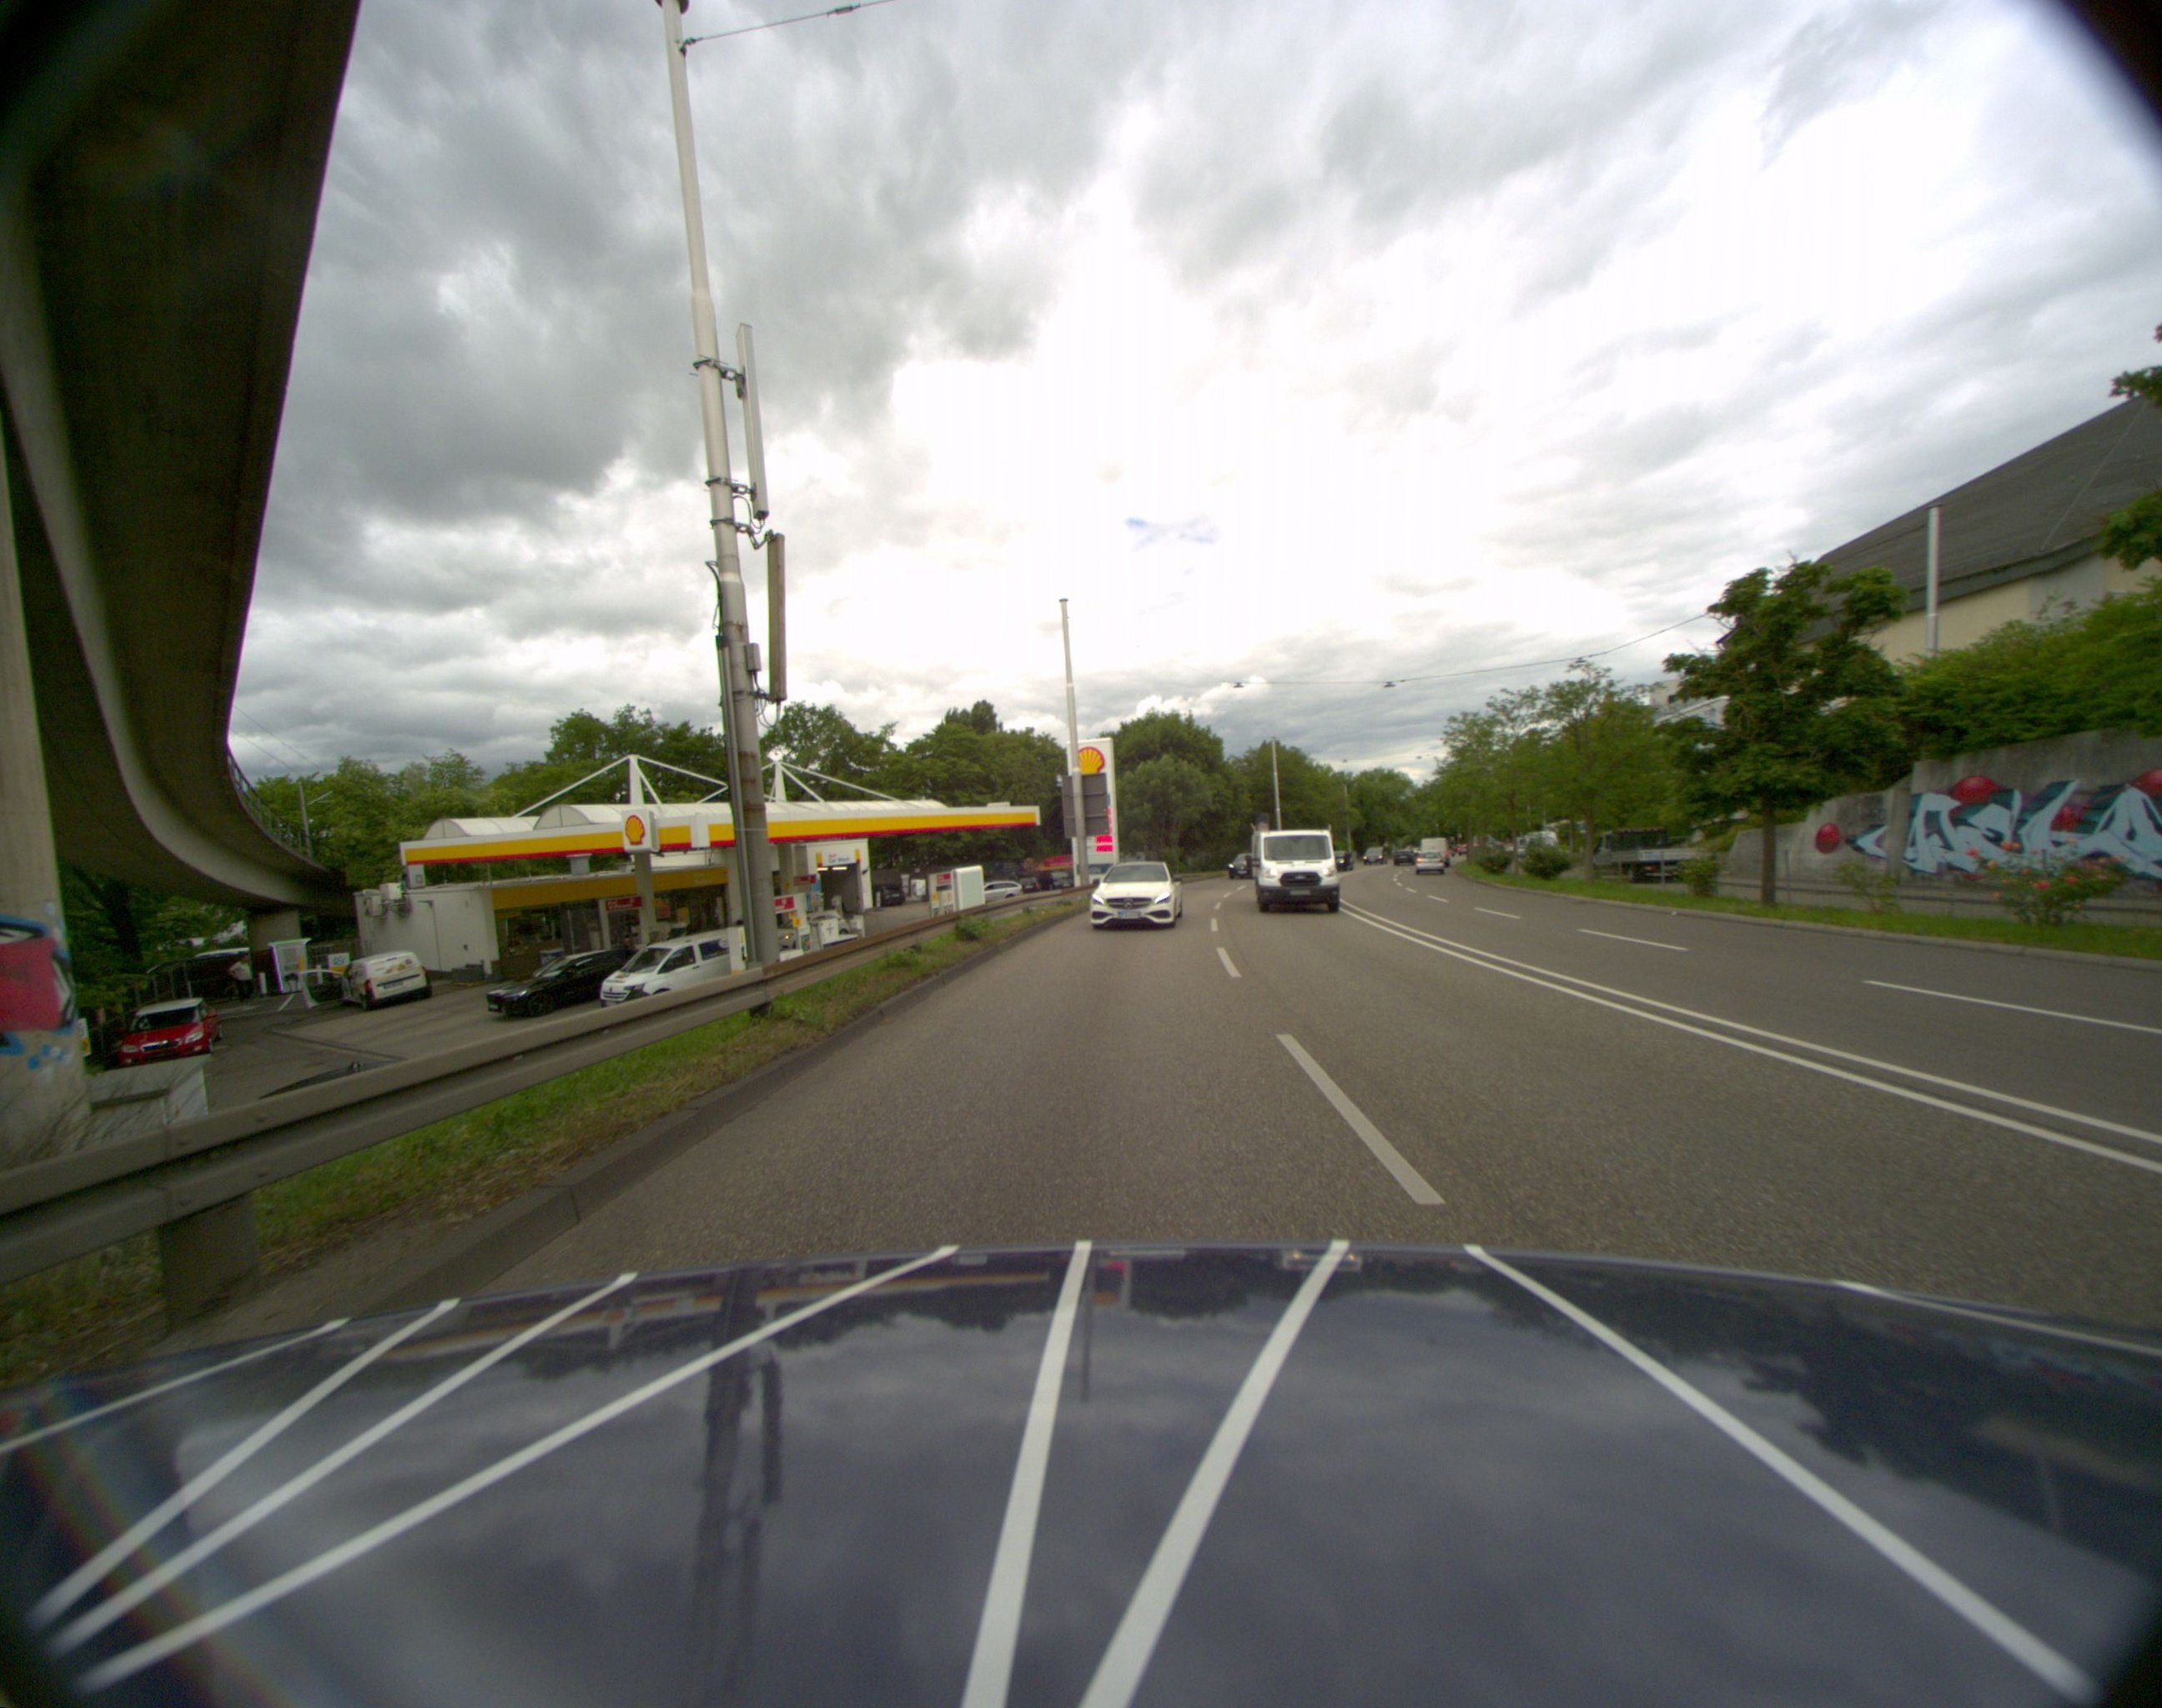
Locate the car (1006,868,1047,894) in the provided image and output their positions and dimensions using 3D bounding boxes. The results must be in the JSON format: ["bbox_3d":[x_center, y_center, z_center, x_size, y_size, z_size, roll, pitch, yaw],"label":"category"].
[{"bbox_3d":[-4.022,1.899,55.168,1.736,1.428,4.284,-6,4,-20],"label":"car"}]

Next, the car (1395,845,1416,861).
[{"bbox_3d":[29.691,-0.084,69.434,1.737,1.406,4.436,0,0,24],"label":"car"}]

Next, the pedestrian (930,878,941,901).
[{"bbox_3d":[-9.869,2.409,51.596,0.469,1.530,0.431,-6,0,-23],"label":"pedestrian"}]

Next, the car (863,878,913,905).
[{"bbox_3d":[-13.031,2.508,51.216,1.726,1.428,4.094,-4,4,-37],"label":"car"}]

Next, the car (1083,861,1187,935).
[{"bbox_3d":[1.347,0.898,17.231,1.819,1.339,4.003,0,1,12],"label":"car"}]

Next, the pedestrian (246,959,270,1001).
[{"bbox_3d":[-33.185,5.070,30.630,0.424,1.587,0.509,1,5,41],"label":"pedestrian"}]

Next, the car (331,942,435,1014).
[{"bbox_3d":[-25.700,4.492,27.958,3.867,1.929,1.743,-1,7,35],"label":"car"}]

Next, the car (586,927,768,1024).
[{"bbox_3d":[-12.515,3.680,23.932,1.737,1.999,4.719,-2,3,29],"label":"car"}]

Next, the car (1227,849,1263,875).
[{"bbox_3d":[9.888,0.462,45.710,1.731,1.402,4.005,-2,0,17],"label":"car"}]

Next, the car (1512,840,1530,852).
[{"bbox_3d":[52.526,-0.946,90.734,1.674,1.420,4.425,1,2,27],"label":"car"}]

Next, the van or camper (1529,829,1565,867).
[{"bbox_3d":[32.536,-0.428,53.144,1.995,2.458,5.720,-1,1,31],"label":"van or camper"}]

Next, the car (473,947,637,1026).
[{"bbox_3d":[-17.000,4.224,24.758,1.736,1.478,3.882,0,6,32],"label":"car"}]

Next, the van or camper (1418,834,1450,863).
[{"bbox_3d":[28.893,-0.467,62.328,2.010,2.248,5.971,-1,0,21],"label":"van or camper"}]

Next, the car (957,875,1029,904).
[{"bbox_3d":[-5.742,2.283,49.626,4.298,1.424,1.597,-4,4,-27],"label":"car"}]

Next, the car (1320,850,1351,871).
[{"bbox_3d":[18.953,0.453,56.534,1.734,1.403,4.006,-3,0,24],"label":"car"}]

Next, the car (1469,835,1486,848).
[{"bbox_3d":[53.073,-1.655,101.594,1.786,1.566,4.476,0,1,30],"label":"car"}]

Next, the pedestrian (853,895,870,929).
[{"bbox_3d":[-11.416,2.996,39.519,0.542,1.694,0.611,-2,1,24],"label":"pedestrian"}]

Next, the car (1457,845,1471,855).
[{"bbox_3d":[60.585,-0.627,120.134,1.786,1.529,4.083,-1,0,29],"label":"car"}]

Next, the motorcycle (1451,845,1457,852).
[{"bbox_3d":[51.847,-0.780,105.573,0.483,1.050,2.272,0,1,32],"label":"motorcycle"}]

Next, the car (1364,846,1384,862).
[{"bbox_3d":[29.234,-0.026,75.915,1.727,1.469,4.005,-3,0,20],"label":"car"}]

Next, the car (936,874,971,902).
[{"bbox_3d":[-8.838,2.299,52.397,1.630,1.511,4.092,-3,3,-20],"label":"car"}]

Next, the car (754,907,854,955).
[{"bbox_3d":[-12.279,3.368,33.875,1.736,1.478,3.883,-2,4,29],"label":"car"}]

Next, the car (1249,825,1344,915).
[{"bbox_3d":[5.926,0.407,21.597,1.997,2.161,6.274,-2,0,11],"label":"car"}]

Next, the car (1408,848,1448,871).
[{"bbox_3d":[21.723,0.324,47.672,1.705,1.400,3.813,-1,0,16],"label":"car"}]

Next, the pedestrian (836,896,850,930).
[{"bbox_3d":[-12.261,3.042,39.165,0.491,1.695,0.432,-2,1,38],"label":"pedestrian"}]

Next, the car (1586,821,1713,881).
[{"bbox_3d":[23.874,-0.155,32.271,2.270,2.260,6.334,-1,1,17],"label":"car"}]

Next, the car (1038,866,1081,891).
[{"bbox_3d":[-1.636,1.753,55.873,1.736,1.419,4.284,-6,4,-21],"label":"car"}]
